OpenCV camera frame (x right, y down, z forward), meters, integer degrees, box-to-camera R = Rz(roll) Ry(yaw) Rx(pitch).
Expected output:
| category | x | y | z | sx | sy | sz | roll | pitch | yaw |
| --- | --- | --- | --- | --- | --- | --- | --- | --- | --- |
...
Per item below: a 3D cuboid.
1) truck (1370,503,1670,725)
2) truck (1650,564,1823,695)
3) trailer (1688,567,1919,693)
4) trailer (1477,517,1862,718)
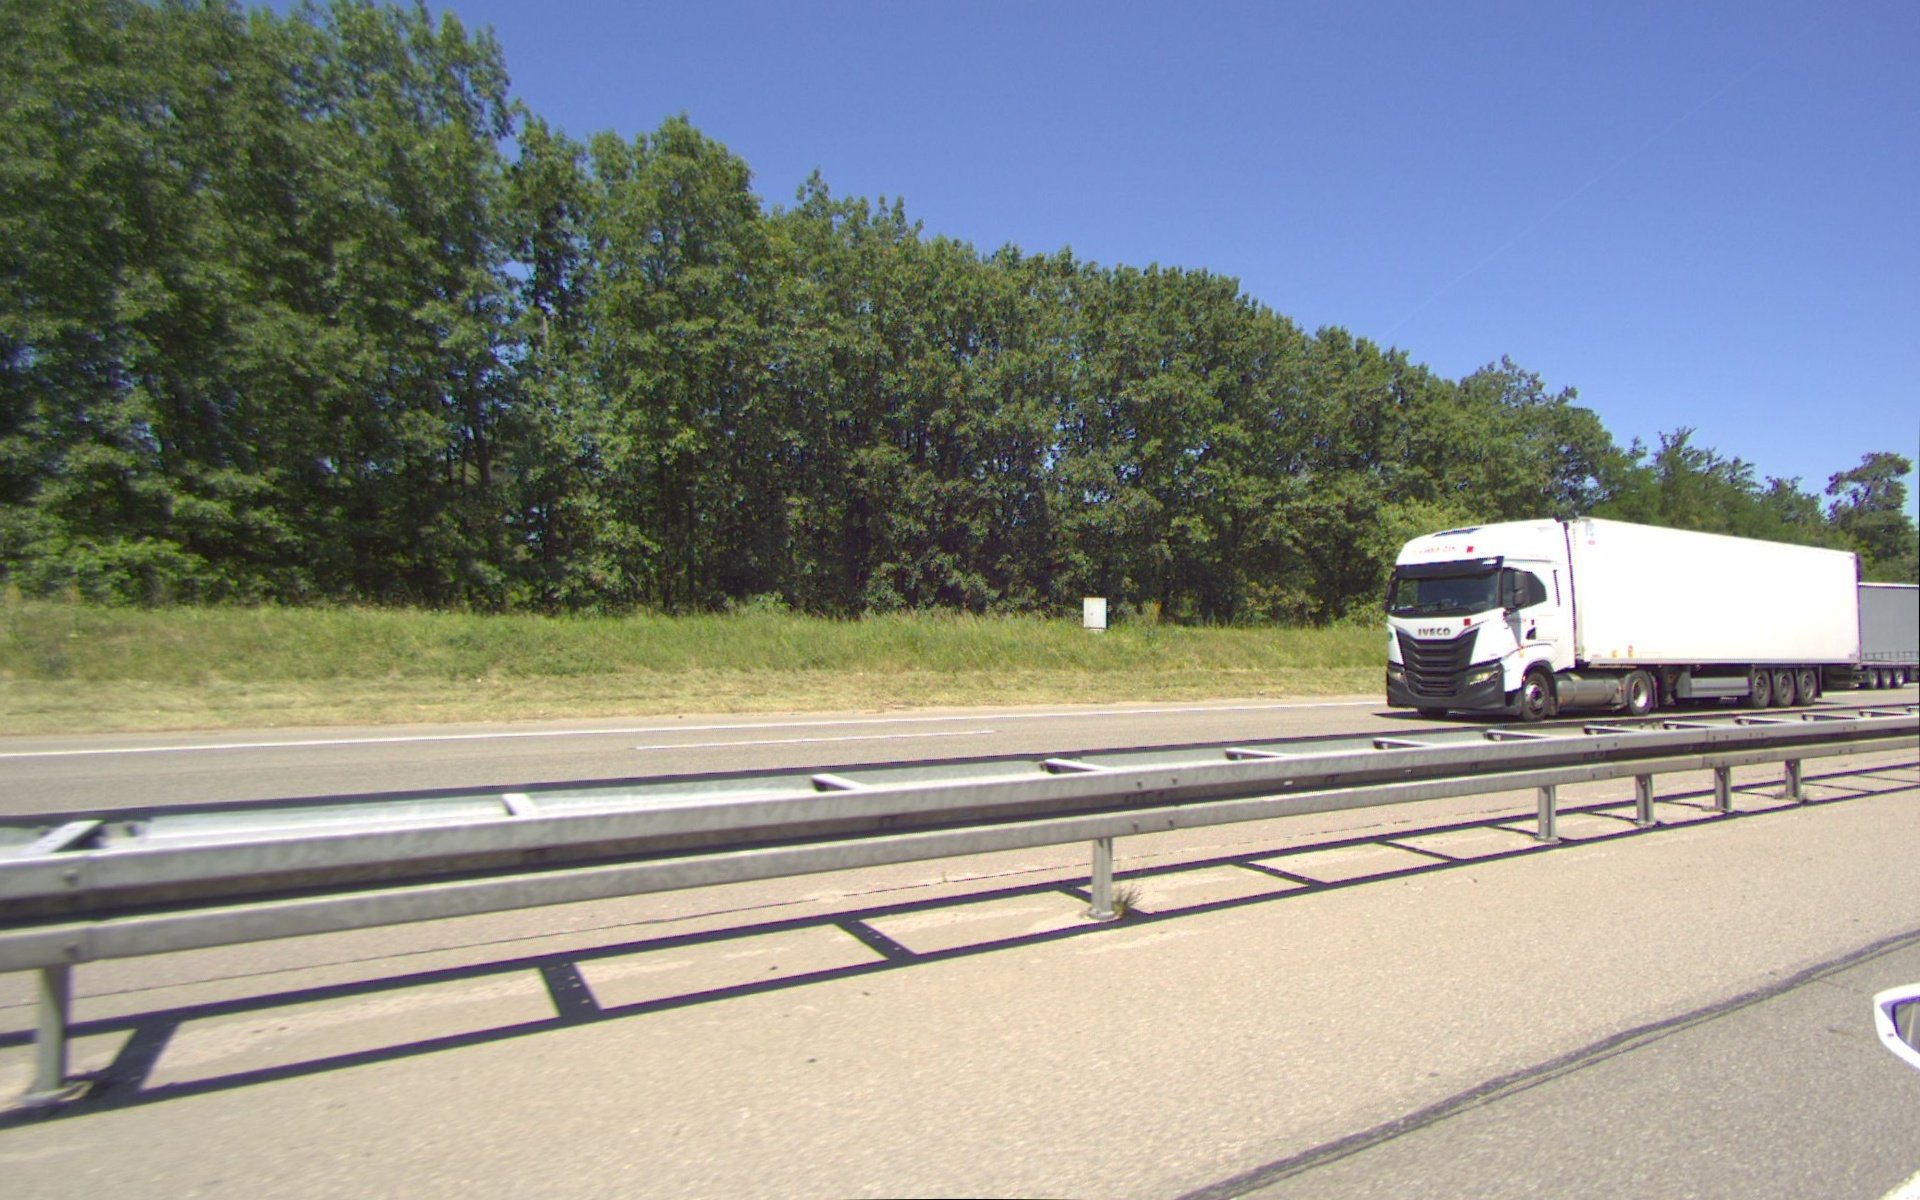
| category | x | y | z | sx | sy | sz | roll | pitch | yaw |
| --- | --- | --- | --- | --- | --- | --- | --- | --- | --- |
| truck | 11.782 | 0.381 | 21.035 | 6.268 | 4.042 | 2.656 | 2 | -3 | -31 |
| truck | 27.205 | 1.095 | 35.165 | 6.118 | 4.223 | 2.656 | 2 | -3 | -31 |
| trailer | 33.117 | 1.240 | 38.731 | 14.429 | 4.223 | 2.656 | 2 | -3 | -31 |
| trailer | 17.847 | 0.558 | 24.680 | 12.980 | 4.042 | 2.656 | 2 | -3 | -31 |
